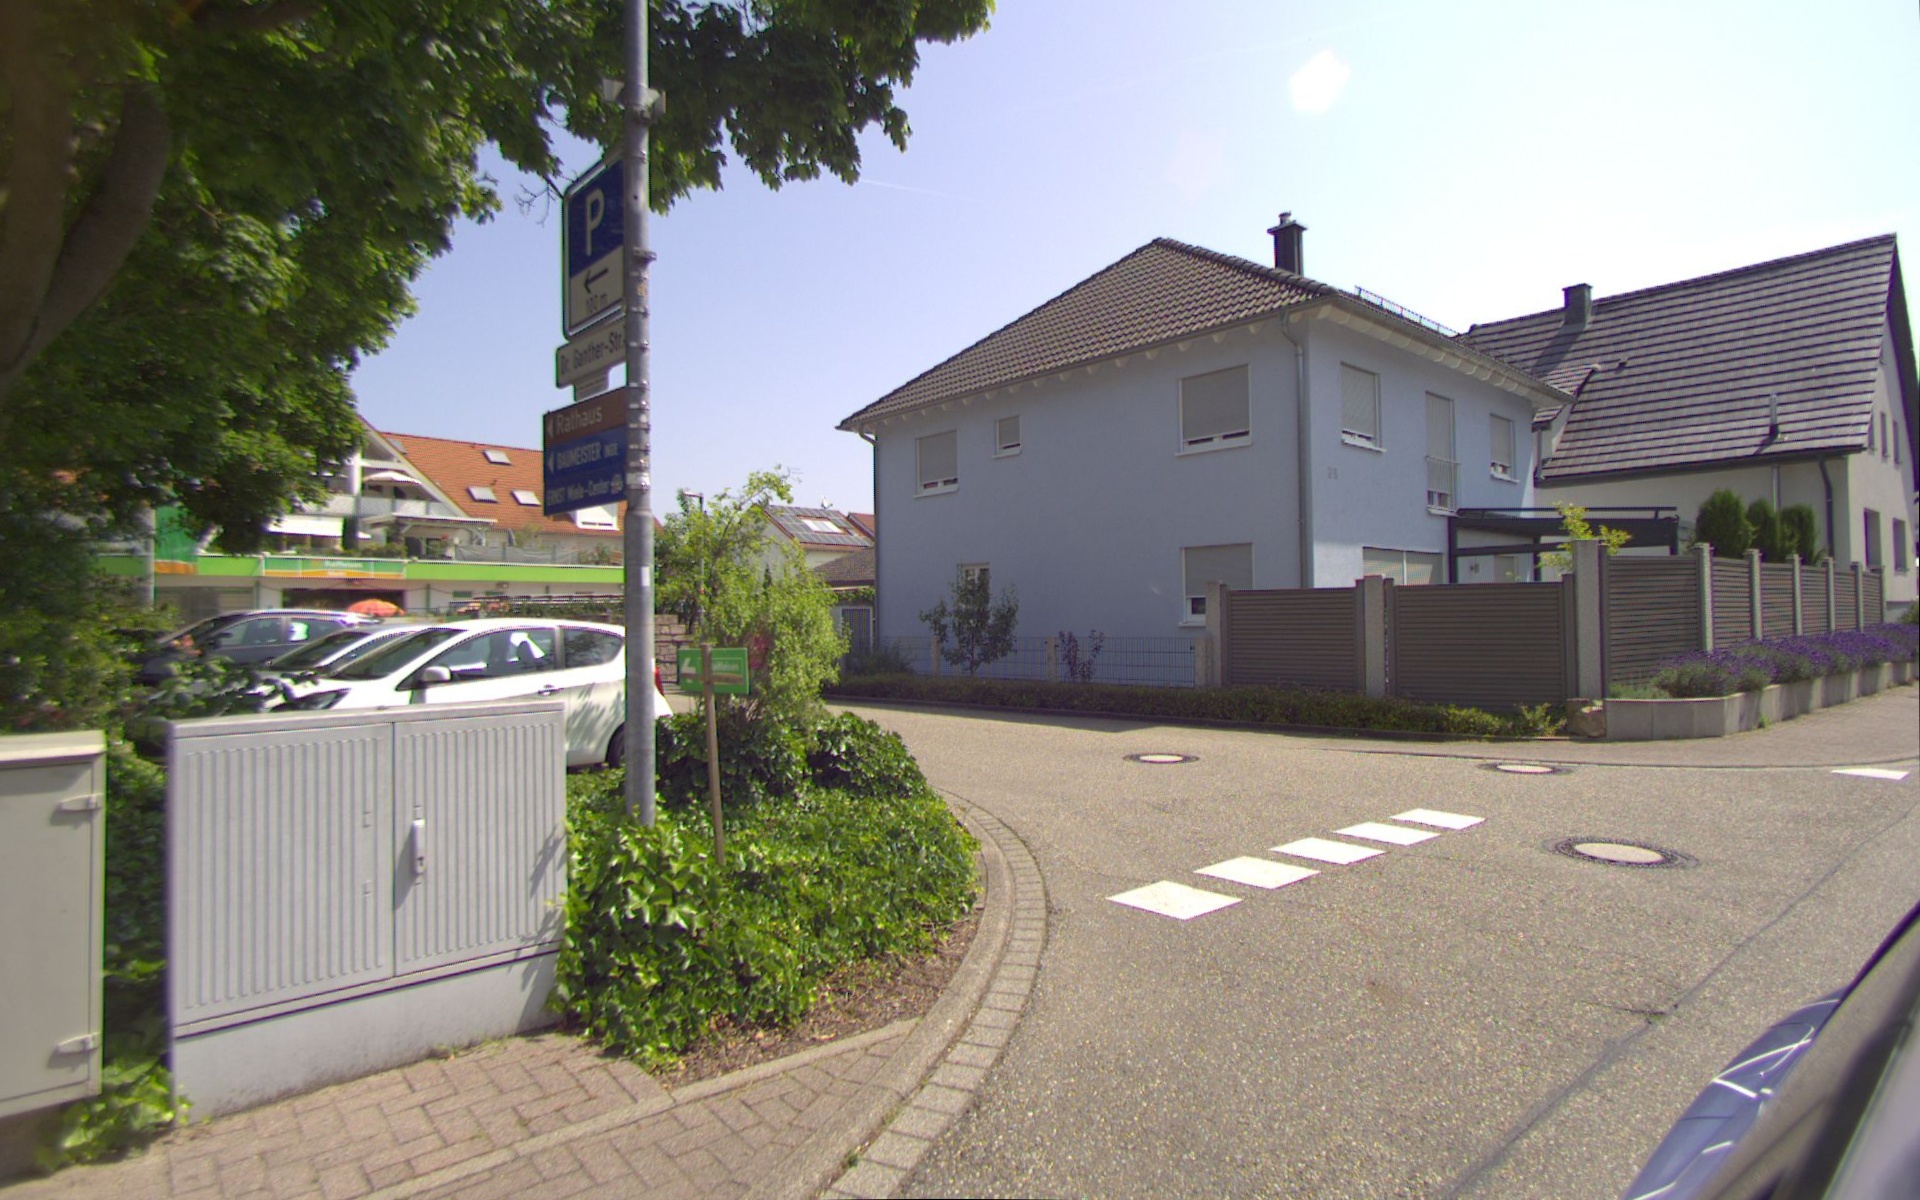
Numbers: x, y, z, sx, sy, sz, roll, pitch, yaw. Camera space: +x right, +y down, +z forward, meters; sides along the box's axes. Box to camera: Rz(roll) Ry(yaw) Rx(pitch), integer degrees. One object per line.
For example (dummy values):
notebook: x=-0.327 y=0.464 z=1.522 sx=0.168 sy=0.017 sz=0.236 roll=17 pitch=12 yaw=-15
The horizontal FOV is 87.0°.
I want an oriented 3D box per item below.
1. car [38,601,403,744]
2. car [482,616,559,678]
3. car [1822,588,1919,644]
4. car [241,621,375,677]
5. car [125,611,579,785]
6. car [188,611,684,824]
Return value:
car: x=-10.107 y=0.911 z=14.091 sx=1.587 sy=1.705 sz=3.811 roll=-2 pitch=-2 yaw=37
car: x=-11.847 y=1.205 z=27.144 sx=1.669 sy=1.521 sz=4.102 roll=0 pitch=-1 yaw=-27
car: x=26.494 y=0.436 z=28.126 sx=1.735 sy=1.493 sz=3.663 roll=1 pitch=0 yaw=-41
car: x=-20.320 y=1.494 z=31.734 sx=1.671 sy=1.620 sz=3.999 roll=-1 pitch=-1 yaw=-1
car: x=-6.207 y=0.891 z=10.690 sx=1.589 sy=1.492 sz=3.808 roll=-2 pitch=-2 yaw=40
car: x=-4.373 y=0.854 z=8.837 sx=1.590 sy=1.464 sz=3.514 roll=-2 pitch=-2 yaw=41
